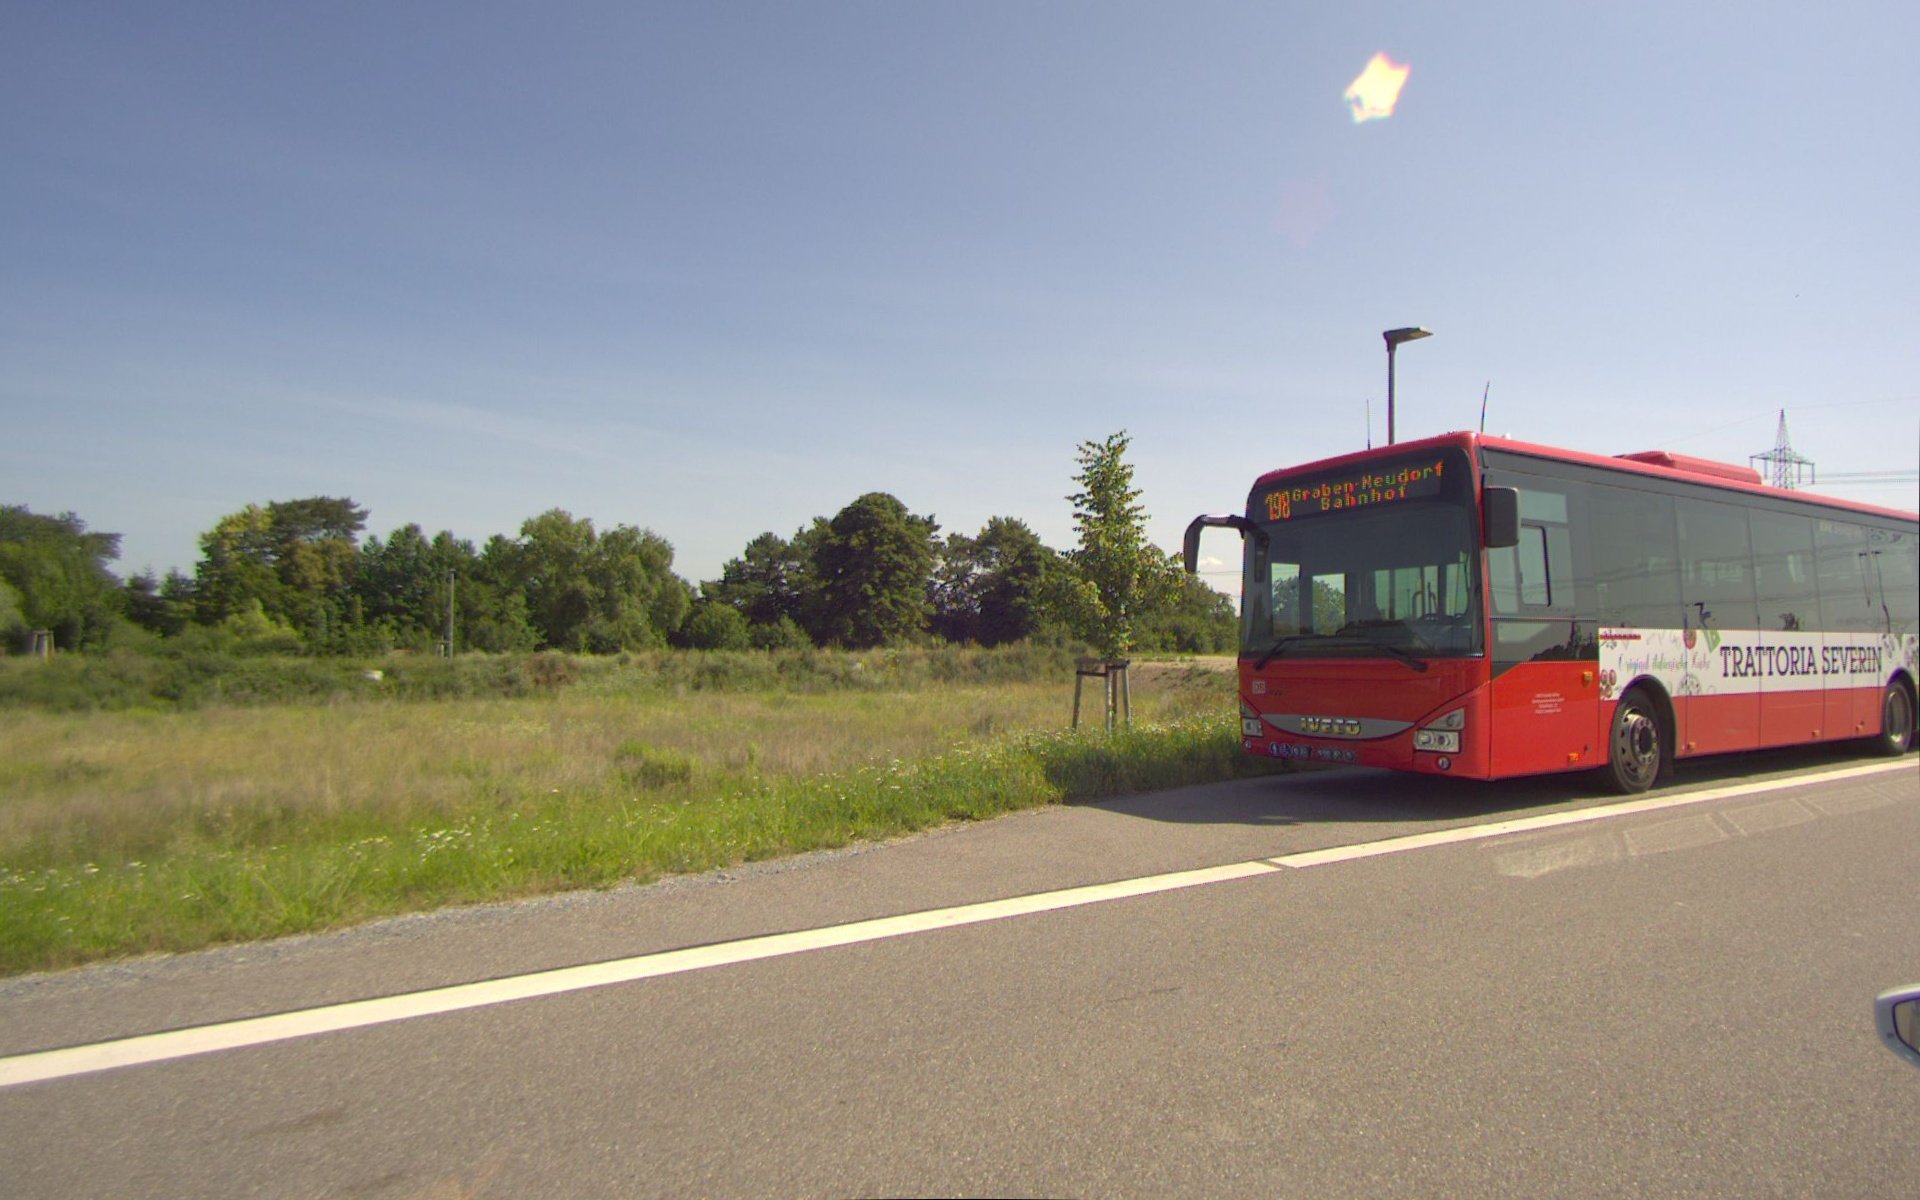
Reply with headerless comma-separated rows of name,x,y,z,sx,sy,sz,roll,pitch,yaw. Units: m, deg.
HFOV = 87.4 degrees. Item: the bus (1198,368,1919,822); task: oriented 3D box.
bus,8.191,0.115,11.735,12.090,3.330,2.780,1,-3,-32
